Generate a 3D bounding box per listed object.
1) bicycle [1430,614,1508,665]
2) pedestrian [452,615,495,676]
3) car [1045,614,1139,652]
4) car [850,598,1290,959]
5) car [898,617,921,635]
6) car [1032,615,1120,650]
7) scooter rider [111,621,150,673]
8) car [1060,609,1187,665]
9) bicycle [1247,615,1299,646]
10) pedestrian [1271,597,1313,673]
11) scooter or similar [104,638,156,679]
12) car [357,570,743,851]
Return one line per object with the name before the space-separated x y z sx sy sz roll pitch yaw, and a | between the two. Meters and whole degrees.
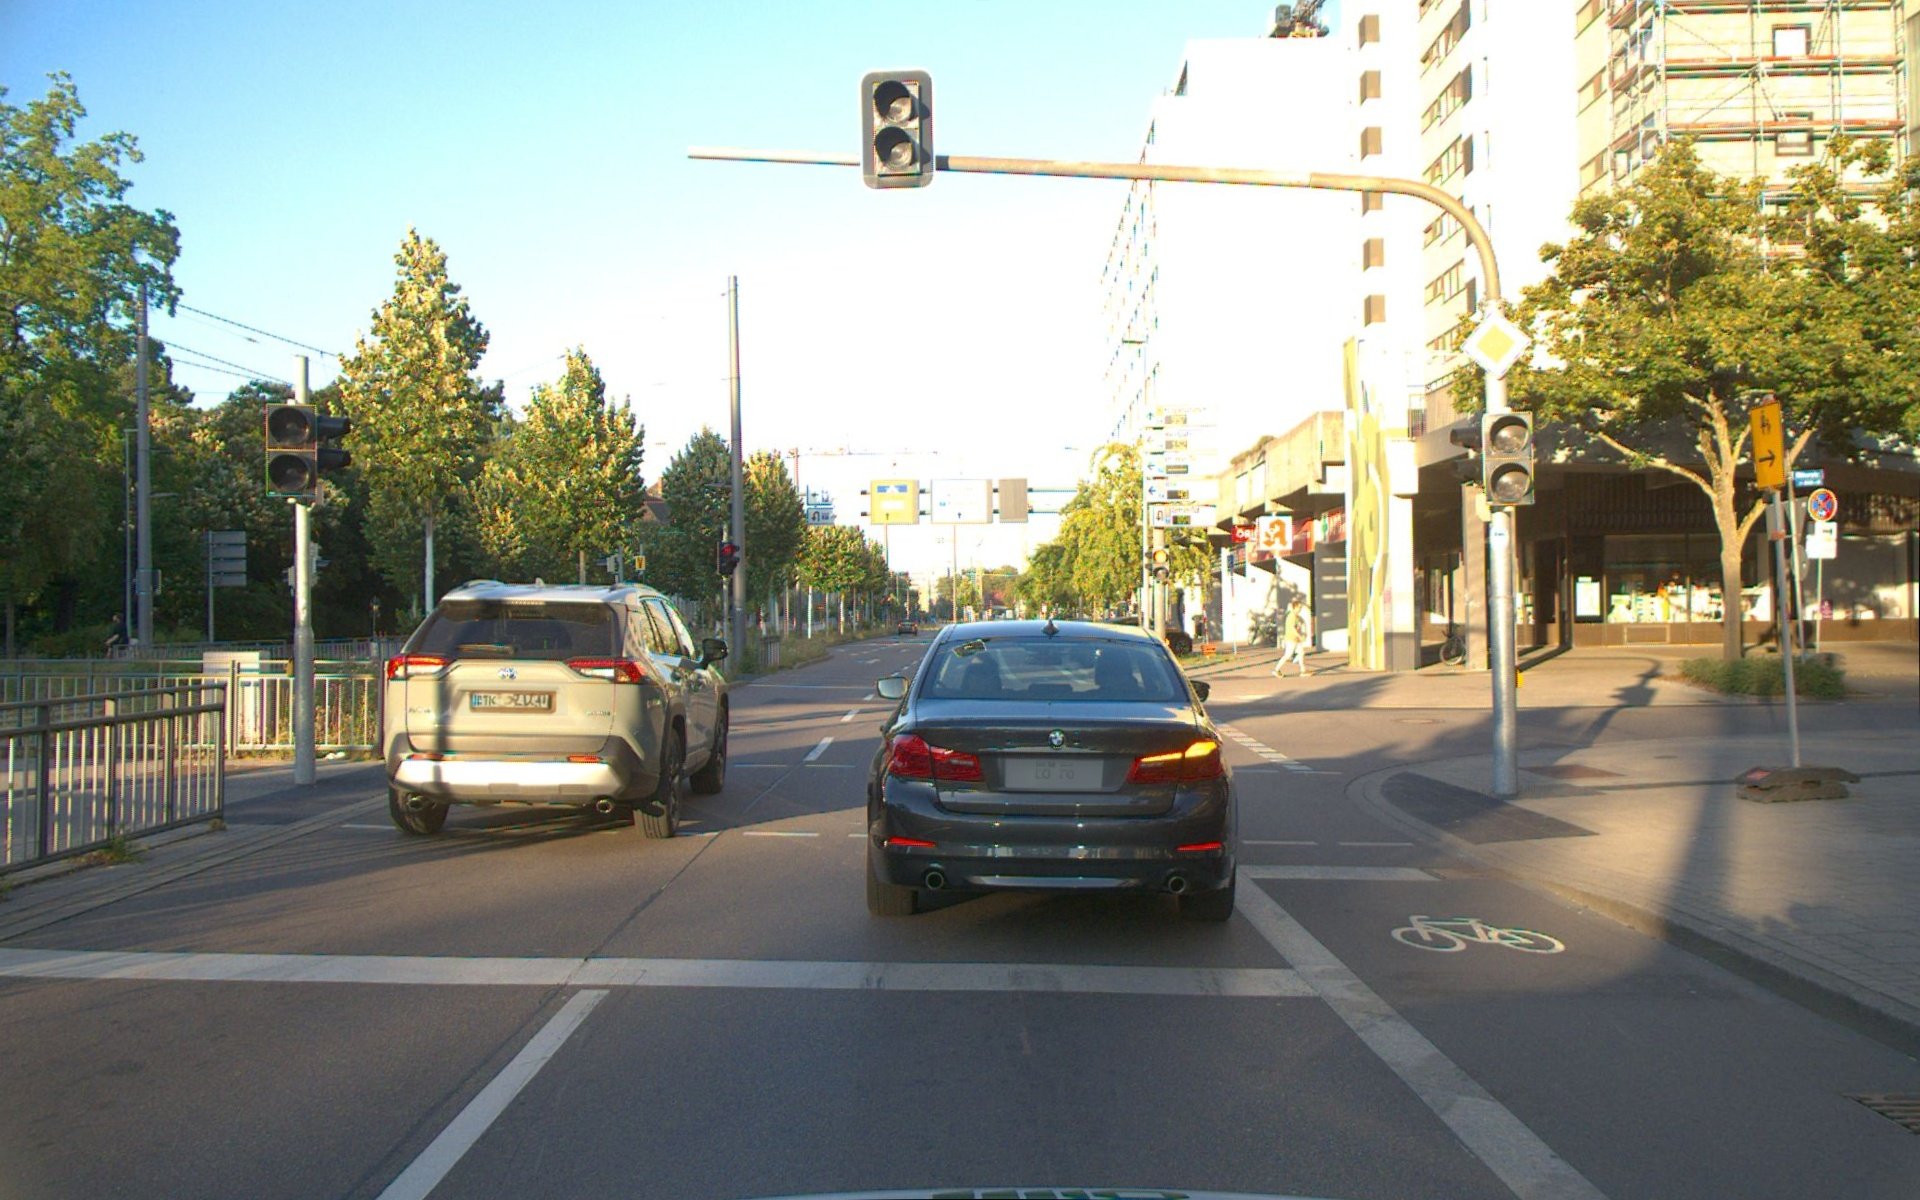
bicycle | 12.016 0.927 39.095 0.678 1.169 2.011 3 -2 -19
pedestrian | -13.098 1.217 44.528 0.817 1.614 0.812 -1 -1 11
car | 6.127 1.514 76.609 4.222 1.687 1.836 0 1 -37
car | 0.476 0.770 9.401 1.892 1.507 4.522 0 1 0
car | -4.370 2.230 144.167 1.939 1.458 4.842 0 1 -1
car | 5.823 1.608 82.731 4.221 1.687 1.837 0 1 -36
scooter rider | -24.843 1.410 49.529 0.638 1.541 0.822 -1 -1 29
car | 5.388 1.176 54.167 4.235 1.687 1.831 0 1 -44
bicycle | 12.638 1.222 66.740 1.974 1.169 0.691 2 -2 5
pedestrian | 7.754 0.821 38.643 0.818 1.742 0.647 -1 -1 -2
scooter or similar | -24.832 1.738 49.493 0.502 1.173 1.331 -1 -1 29
car | -2.750 0.647 12.120 1.817 1.687 4.268 0 1 -1
